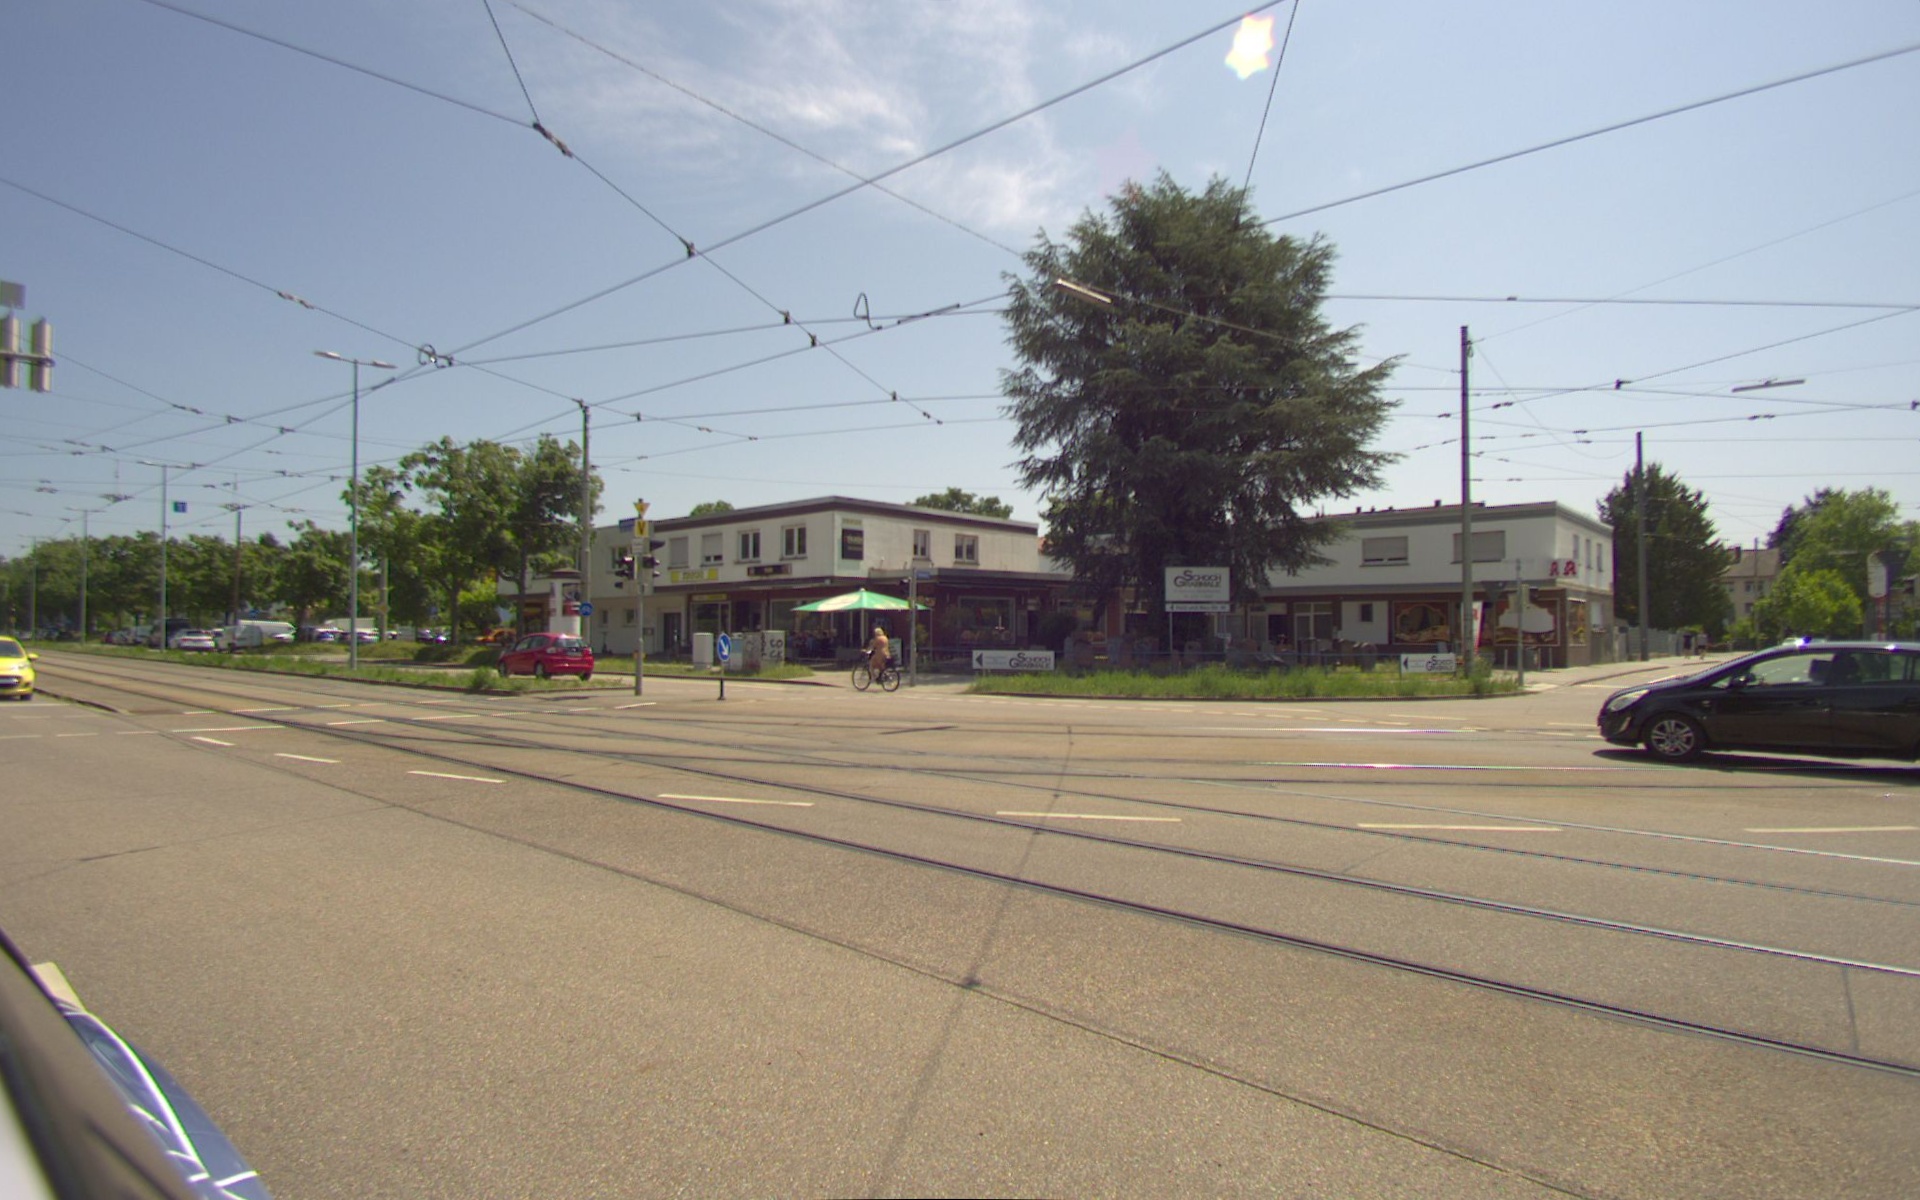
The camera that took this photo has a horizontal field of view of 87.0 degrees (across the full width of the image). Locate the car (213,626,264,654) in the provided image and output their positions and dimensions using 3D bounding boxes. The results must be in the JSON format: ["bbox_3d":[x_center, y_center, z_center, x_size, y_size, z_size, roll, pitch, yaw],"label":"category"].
[{"bbox_3d":[-50.974,2.825,71.500,4.661,1.898,1.972,-2,-3,42],"label":"car"}]

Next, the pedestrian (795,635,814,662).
[{"bbox_3d":[-6.914,2.160,45.004,0.674,1.172,0.511,-2,-3,42],"label":"pedestrian"}]

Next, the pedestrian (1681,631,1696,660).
[{"bbox_3d":[48.684,3.014,67.634,0.679,1.917,0.640,-2,-3,42],"label":"pedestrian"}]

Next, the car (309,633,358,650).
[{"bbox_3d":[-55.429,3.675,89.560,1.600,1.404,3.373,-1,-3,37],"label":"car"}]

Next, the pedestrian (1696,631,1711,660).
[{"bbox_3d":[49.206,3.001,66.993,0.679,1.917,0.640,-2,-3,42],"label":"pedestrian"}]

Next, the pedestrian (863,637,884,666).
[{"bbox_3d":[-3.444,2.053,40.410,0.674,1.136,0.511,-2,-3,42],"label":"pedestrian"}]

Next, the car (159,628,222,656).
[{"bbox_3d":[-46.283,2.533,60.871,4.133,1.564,1.974,-1,-5,38],"label":"car"}]

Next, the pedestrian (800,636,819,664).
[{"bbox_3d":[-6.470,2.151,43.582,0.674,1.208,0.511,-2,-3,42],"label":"pedestrian"}]

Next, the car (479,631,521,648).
[{"bbox_3d":[-44.276,3.813,97.495,1.505,1.573,3.313,-2,-3,39],"label":"car"}]

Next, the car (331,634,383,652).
[{"bbox_3d":[-49.742,3.522,83.505,1.600,1.404,3.373,-1,-3,37],"label":"car"}]

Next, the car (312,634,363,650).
[{"bbox_3d":[-53.620,3.606,87.235,1.600,1.404,3.373,-1,-3,37],"label":"car"}]

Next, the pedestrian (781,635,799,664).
[{"bbox_3d":[-7.314,2.126,43.460,0.491,1.248,0.568,-2,-3,41],"label":"pedestrian"}]

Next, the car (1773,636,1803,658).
[{"bbox_3d":[77.735,4.412,94.994,1.999,2.029,3.945,-2,-3,41],"label":"car"}]

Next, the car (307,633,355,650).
[{"bbox_3d":[-57.032,3.743,91.770,1.600,1.517,3.373,-1,-3,37],"label":"car"}]

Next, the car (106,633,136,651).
[{"bbox_3d":[-85.417,4.264,103.057,4.201,1.807,1.659,-2,-3,41],"label":"car"}]

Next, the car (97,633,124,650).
[{"bbox_3d":[-90.258,4.406,107.512,3.822,1.716,1.659,-2,-3,41],"label":"car"}]

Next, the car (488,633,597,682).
[{"bbox_3d":[-13.582,1.839,32.858,3.823,1.495,1.608,-1,-3,38],"label":"car"}]

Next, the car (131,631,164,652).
[{"bbox_3d":[-77.340,3.957,96.287,4.507,1.989,1.659,-2,-3,41],"label":"car"}]

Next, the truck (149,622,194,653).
[{"bbox_3d":[-67.708,3.238,86.884,4.928,2.561,2.195,-2,-3,43],"label":"truck"}]

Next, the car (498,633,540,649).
[{"bbox_3d":[-41.777,3.854,95.831,1.505,1.469,3.313,-2,-3,39],"label":"car"}]

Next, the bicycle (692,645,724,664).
[{"bbox_3d":[-11.662,2.507,46.799,1.787,0.854,0.522,-1,0,42],"label":"bicycle"}]

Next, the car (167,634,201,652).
[{"bbox_3d":[-63.339,3.500,82.592,3.670,1.397,1.652,-2,-3,44],"label":"car"}]

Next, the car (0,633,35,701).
[{"bbox_3d":[-22.024,1.465,22.575,3.654,1.432,1.599,-3,-6,41],"label":"car"}]

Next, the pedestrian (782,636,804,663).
[{"bbox_3d":[-7.325,2.169,44.382,0.810,1.136,0.558,-2,-3,42],"label":"pedestrian"}]

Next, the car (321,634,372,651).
[{"bbox_3d":[-52.030,3.581,85.874,1.600,1.404,3.373,-1,-3,37],"label":"car"}]

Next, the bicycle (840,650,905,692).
[{"bbox_3d":[-2.502,2.006,28.774,1.931,1.157,0.687,-3,-4,41],"label":"bicycle"}]

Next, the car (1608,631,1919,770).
[{"bbox_3d":[9.962,1.094,11.789,3.863,1.449,1.692,-2,-3,41],"label":"car"}]

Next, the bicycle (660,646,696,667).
[{"bbox_3d":[-12.627,2.529,45.317,1.958,0.854,0.595,-1,0,42],"label":"bicycle"}]

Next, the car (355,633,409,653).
[{"bbox_3d":[-45.980,3.408,80.574,1.596,1.502,3.373,-1,-3,37],"label":"car"}]

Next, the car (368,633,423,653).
[{"bbox_3d":[-44.160,3.352,79.205,1.791,1.502,3.373,-1,-3,37],"label":"car"}]

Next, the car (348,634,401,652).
[{"bbox_3d":[-47.692,3.520,82.414,1.600,1.404,3.373,-1,-3,37],"label":"car"}]

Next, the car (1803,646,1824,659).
[{"bbox_3d":[87.677,5.399,103.963,1.598,1.236,3.253,-2,-3,41],"label":"car"}]

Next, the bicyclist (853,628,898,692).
[{"bbox_3d":[-2.397,1.691,28.689,1.137,1.779,0.687,-3,-4,41],"label":"bicyclist"}]

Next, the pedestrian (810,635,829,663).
[{"bbox_3d":[-6.105,2.131,44.025,0.674,1.218,0.511,-2,-3,42],"label":"pedestrian"}]
